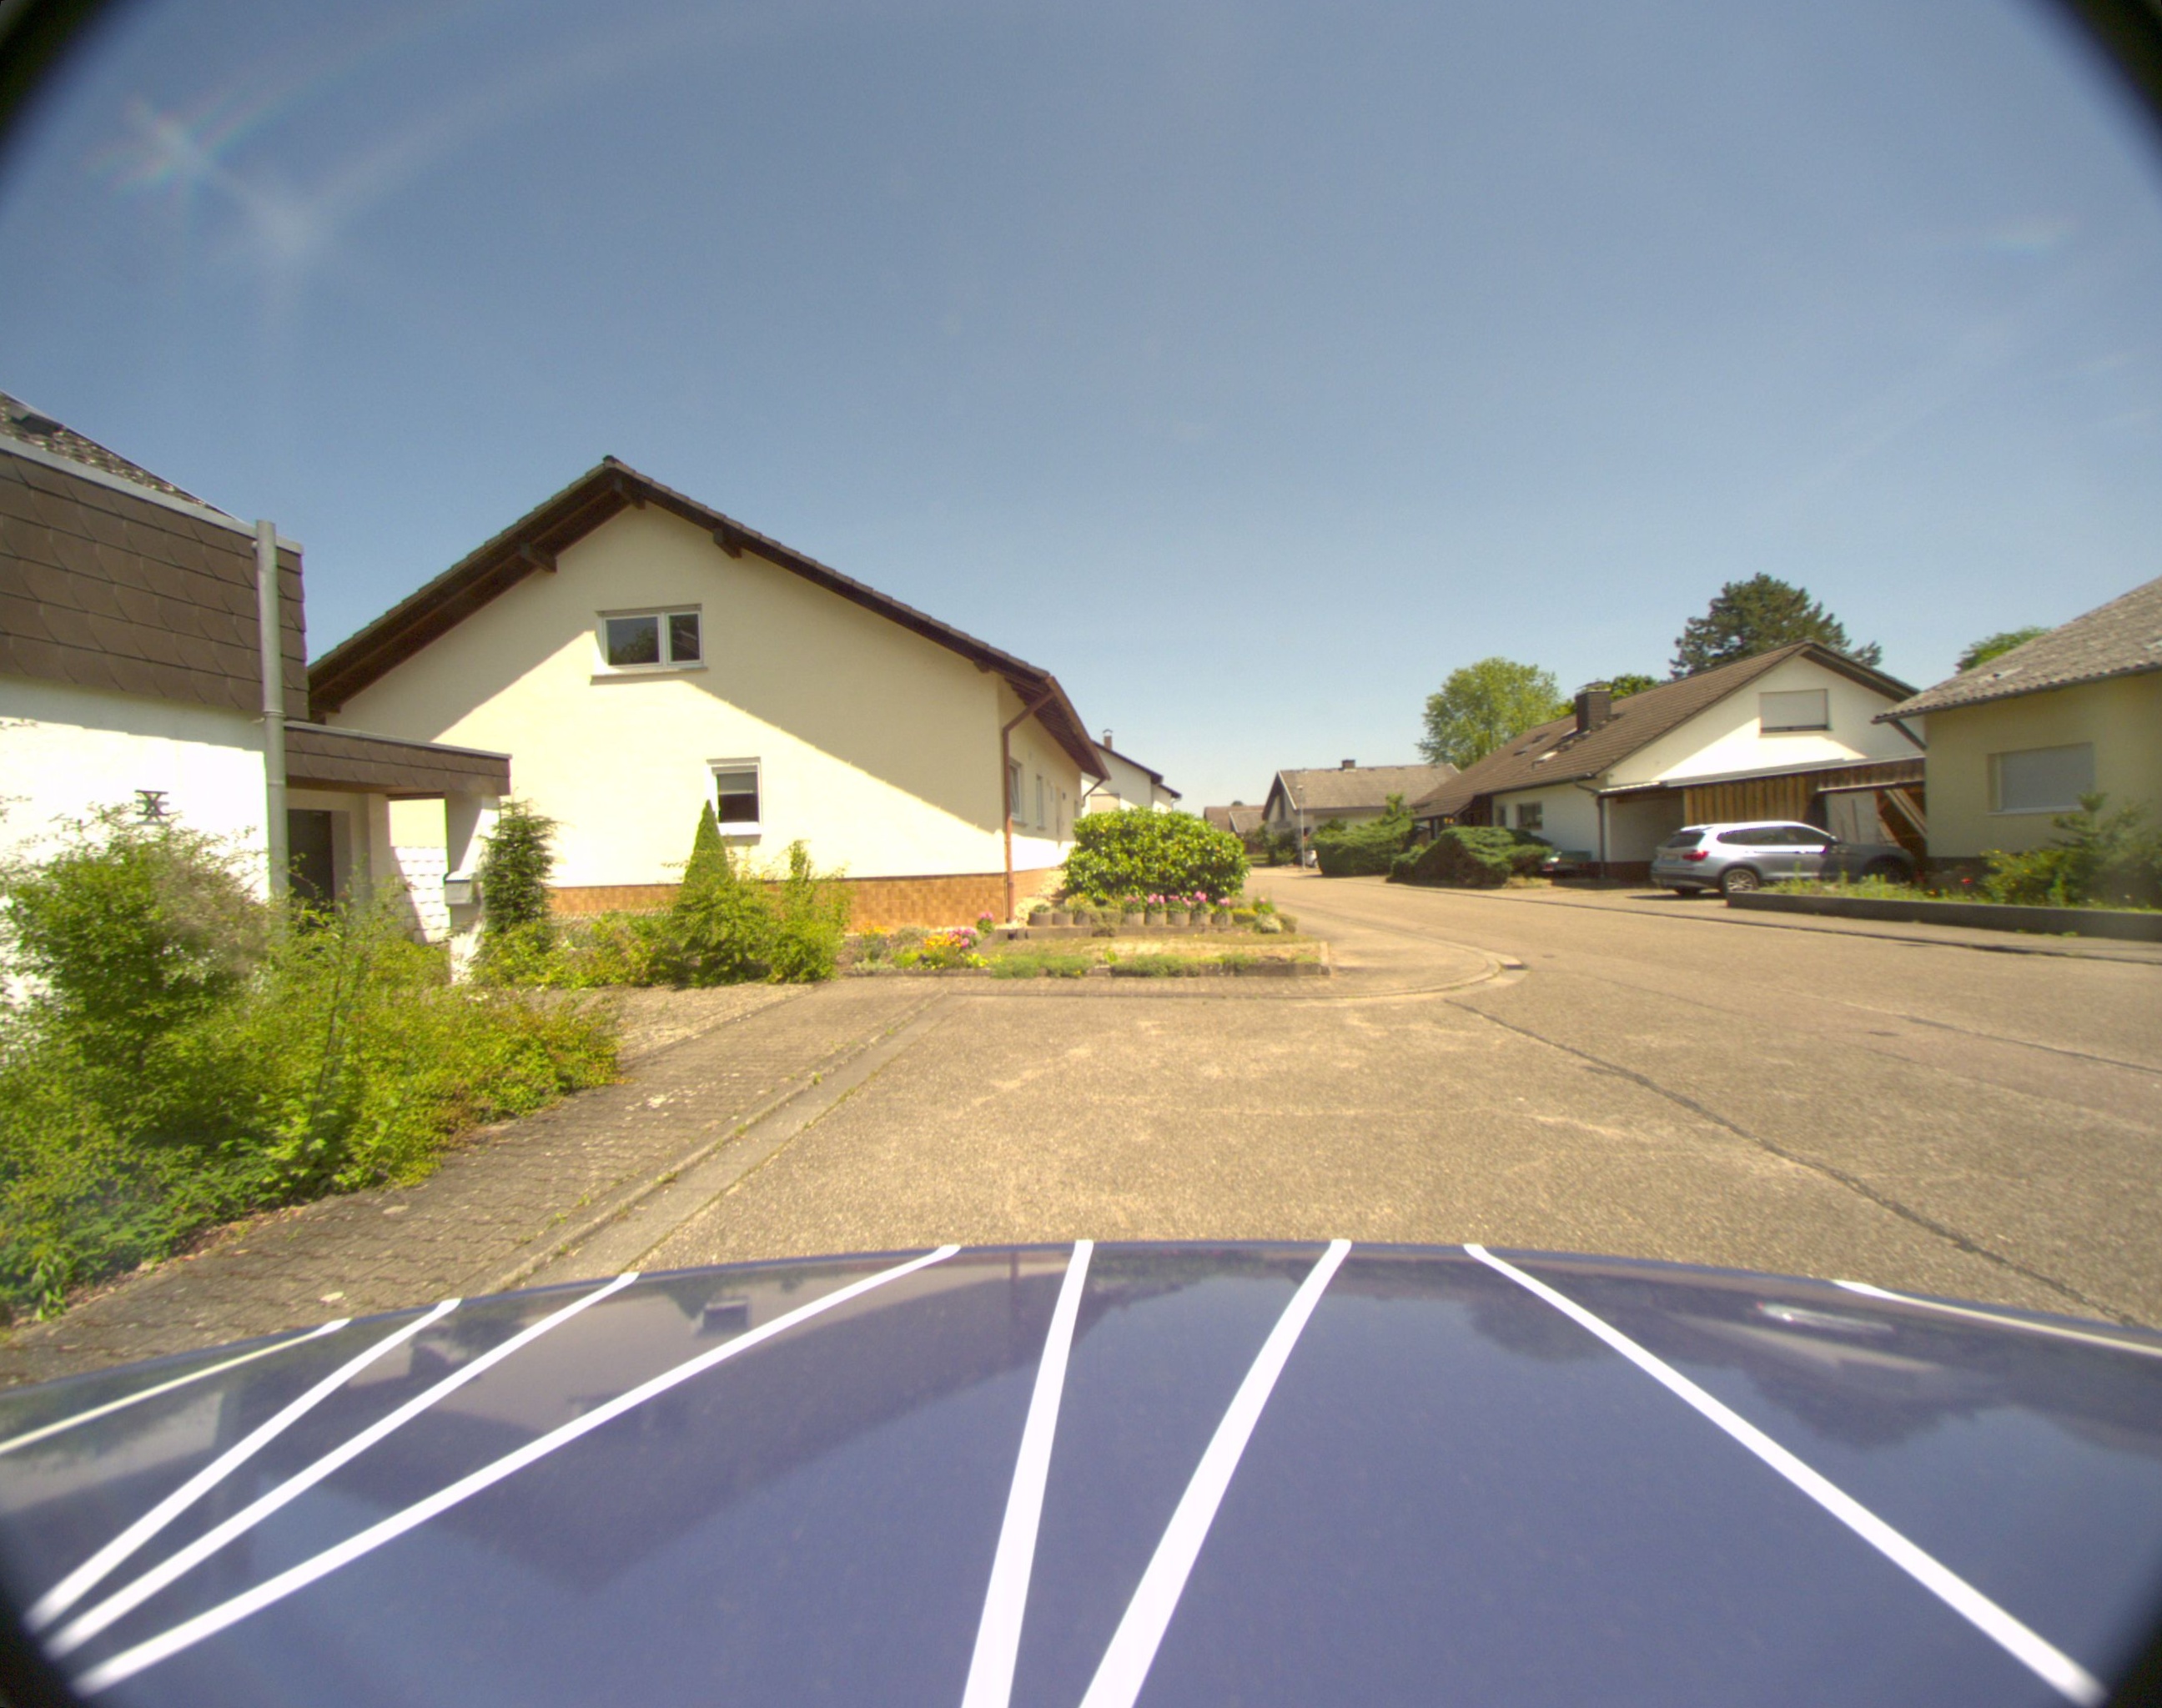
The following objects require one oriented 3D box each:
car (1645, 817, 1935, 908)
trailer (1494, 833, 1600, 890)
[{"bbox_3d":[15.873,0.190,17.242,4.636,1.692,1.710,-3,0,7],"label":"car"},{"bbox_3d":[15.175,0.203,24.927,1.590,1.663,3.297,-3,1,5],"label":"trailer"}]
